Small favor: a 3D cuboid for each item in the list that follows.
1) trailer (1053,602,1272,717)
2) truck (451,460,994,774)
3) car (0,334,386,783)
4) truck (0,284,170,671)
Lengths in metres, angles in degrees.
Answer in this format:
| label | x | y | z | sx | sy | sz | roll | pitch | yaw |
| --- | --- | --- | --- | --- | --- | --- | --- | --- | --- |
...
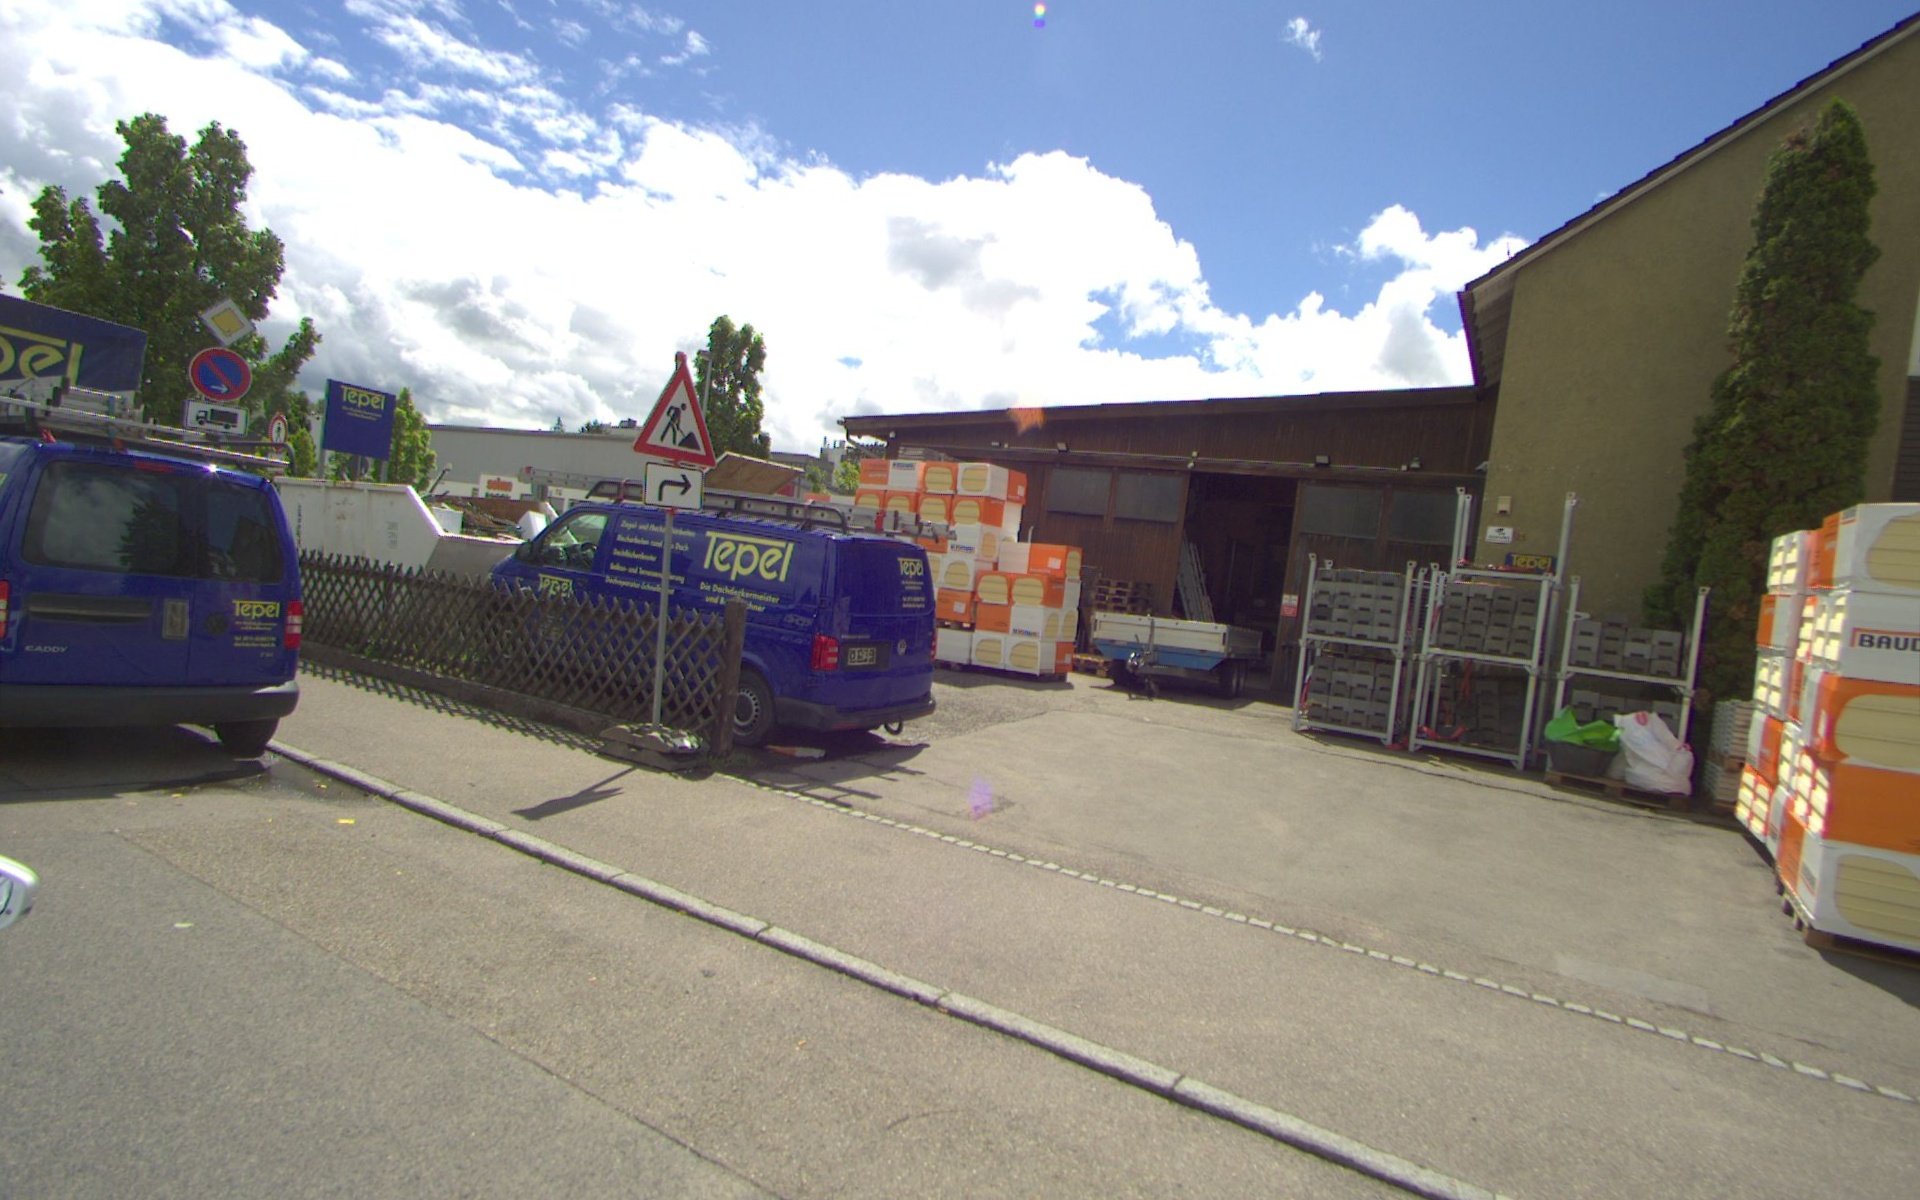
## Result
| label | x | y | z | sx | sy | sz | roll | pitch | yaw |
| --- | --- | --- | --- | --- | --- | --- | --- | --- | --- |
| trailer | 3.457 | 0.979 | 16.307 | 1.966 | 1.345 | 4.888 | 8 | 0 | 29 |
| truck | -2.515 | -0.027 | 9.937 | 5.294 | 2.111 | 1.829 | 9 | 5 | 30 |
| car | -6.158 | -0.343 | 6.803 | 4.390 | 2.194 | 1.877 | 8 | -1 | 32 |
| truck | -10.536 | -1.355 | 9.758 | 5.941 | 3.133 | 2.325 | 8 | -1 | 32 |
